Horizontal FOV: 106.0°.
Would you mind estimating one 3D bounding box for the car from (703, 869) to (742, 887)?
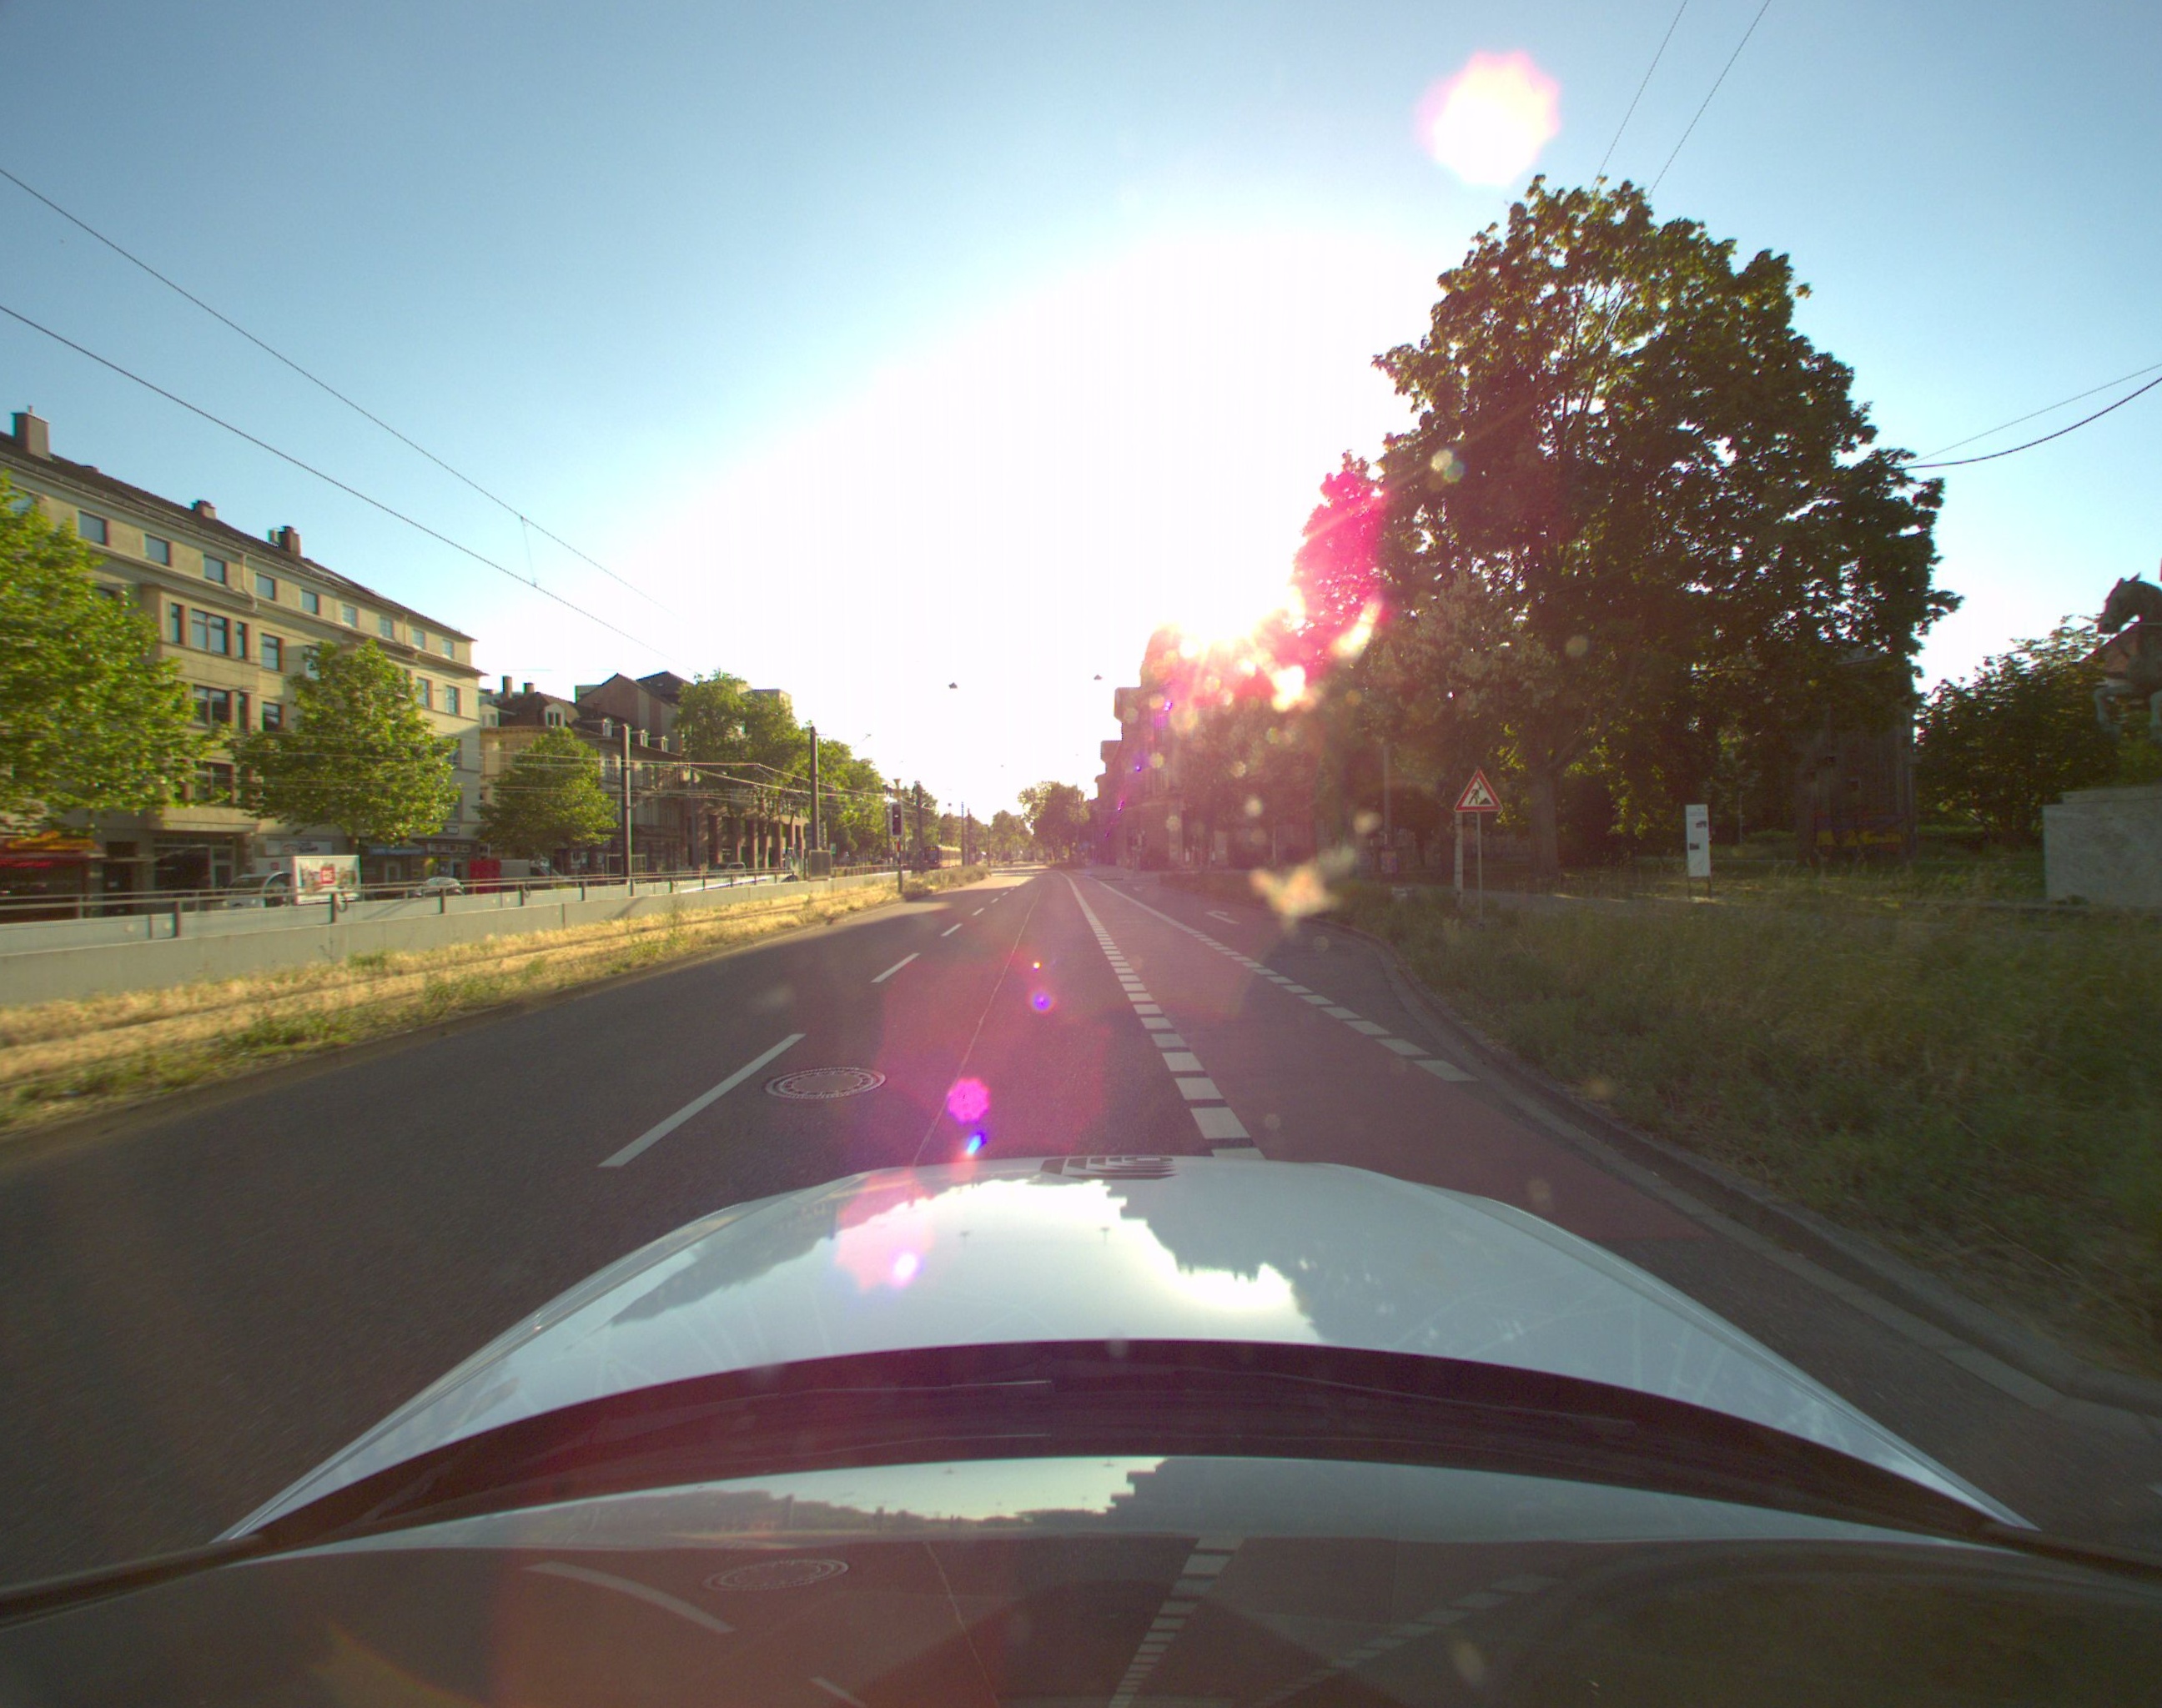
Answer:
[{"bbox_3d":[-34.587,2.311,78.674,1.755,1.585,4.732,-2,0,-1],"label":"car"}]

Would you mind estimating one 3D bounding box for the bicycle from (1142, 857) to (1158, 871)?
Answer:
[{"bbox_3d":[6.300,0.931,74.220,0.859,1.196,2.251,-2,-1,22],"label":"bicycle"}]

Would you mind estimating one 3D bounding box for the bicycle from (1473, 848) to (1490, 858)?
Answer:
[{"bbox_3d":[46.259,-0.086,94.074,1.990,1.101,0.846,-1,1,-36],"label":"bicycle"}]

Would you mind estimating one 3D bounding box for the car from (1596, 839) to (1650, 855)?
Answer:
[{"bbox_3d":[58.212,-0.704,87.503,1.791,1.469,4.403,-1,-2,-40],"label":"car"}]

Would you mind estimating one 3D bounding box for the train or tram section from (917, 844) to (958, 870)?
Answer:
[{"bbox_3d":[-21.382,0.428,122.547,3.103,3.559,17.469,-2,0,-1],"label":"train or tram section"}]

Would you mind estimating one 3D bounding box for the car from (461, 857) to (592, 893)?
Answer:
[{"bbox_3d":[-39.361,1.446,57.999,7.260,2.266,2.464,-2,0,-7],"label":"car"}]

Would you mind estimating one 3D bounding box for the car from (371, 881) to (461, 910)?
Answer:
[{"bbox_3d":[-33.516,2.048,41.190,1.449,1.332,3.709,1,-1,0],"label":"car"}]

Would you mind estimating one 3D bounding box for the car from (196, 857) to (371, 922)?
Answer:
[{"bbox_3d":[-29.228,1.216,30.085,1.947,2.134,4.570,-2,0,-1],"label":"car"}]
